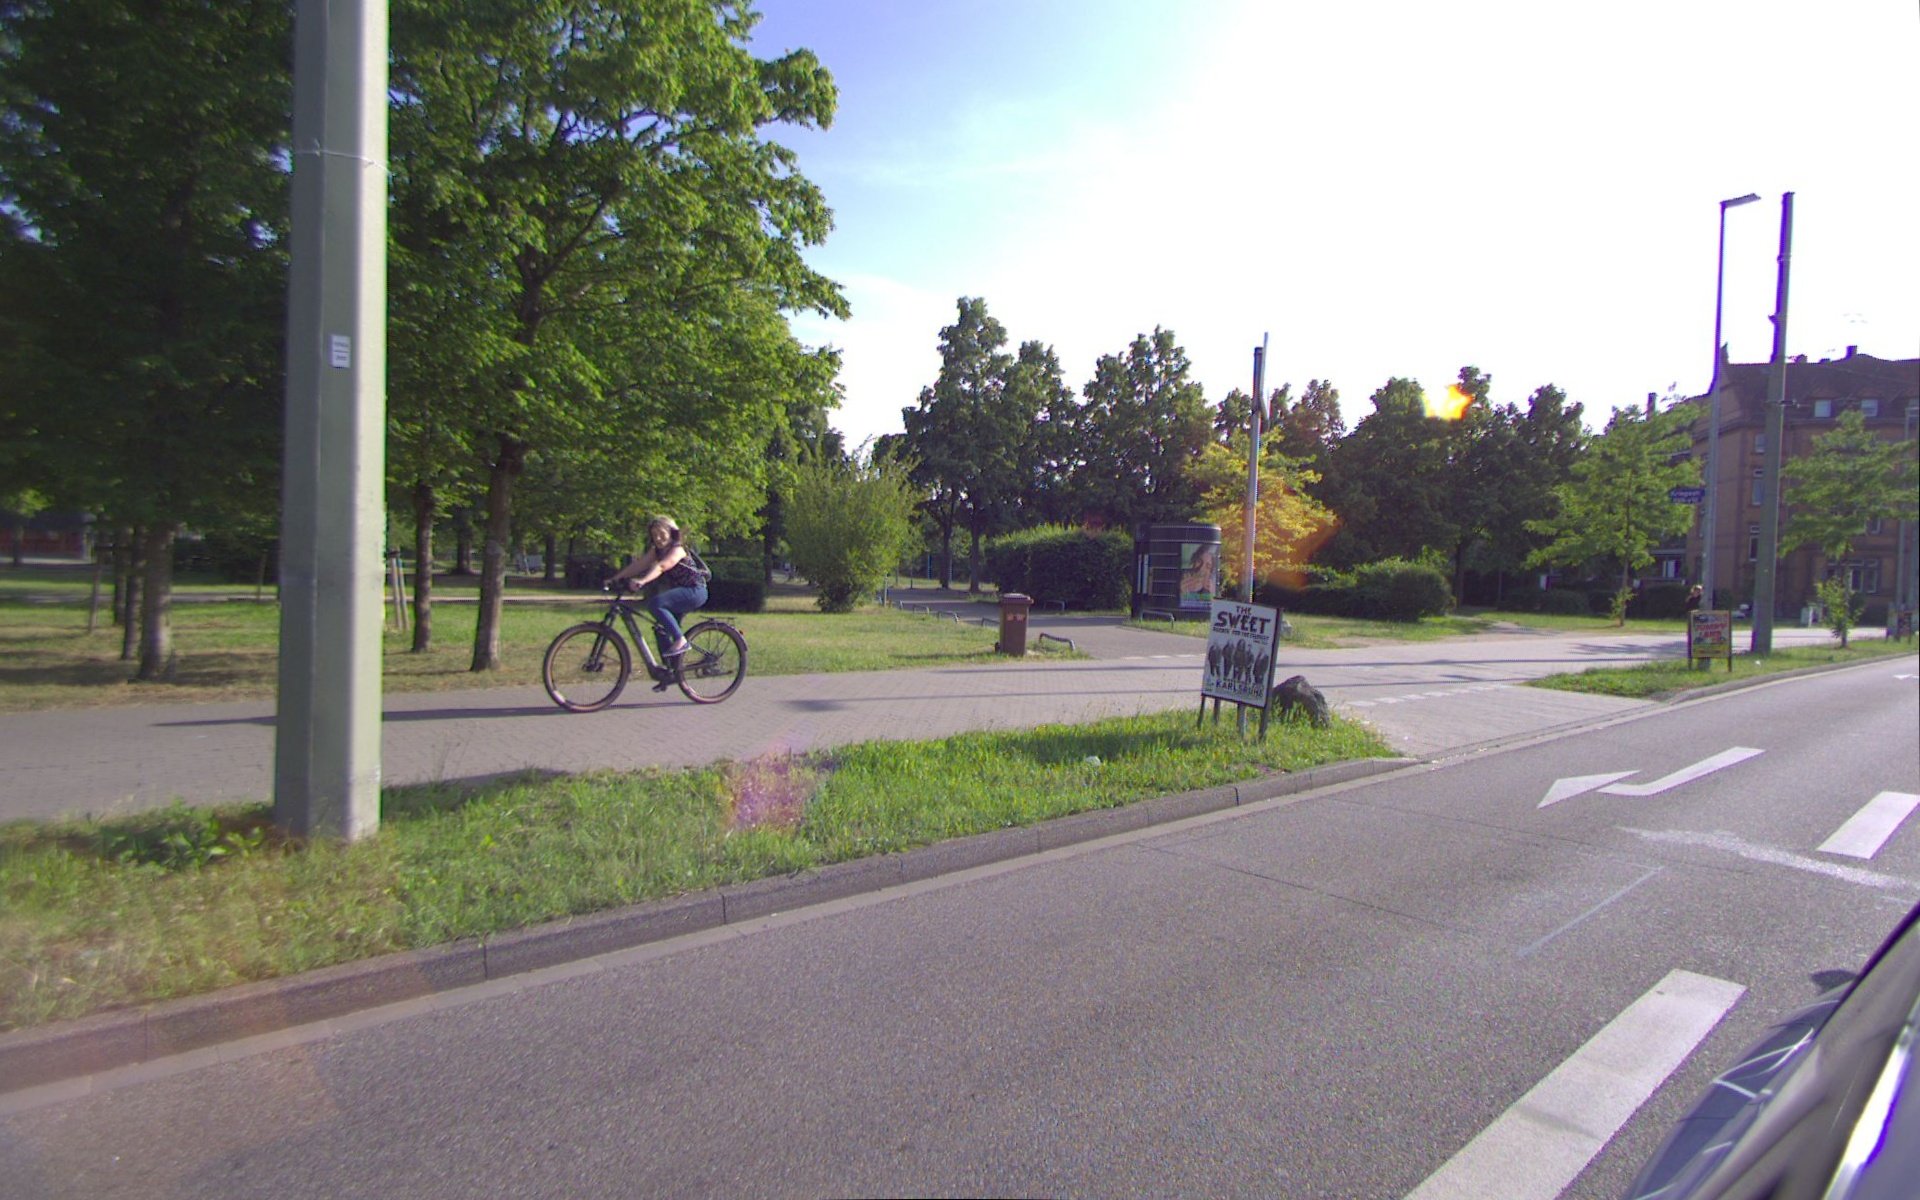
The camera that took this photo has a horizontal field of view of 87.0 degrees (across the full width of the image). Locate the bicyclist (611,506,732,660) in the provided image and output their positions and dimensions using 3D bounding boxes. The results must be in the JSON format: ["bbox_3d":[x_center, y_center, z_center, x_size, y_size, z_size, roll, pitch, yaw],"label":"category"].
[{"bbox_3d":[-2.524,-0.151,8.861,0.853,1.278,0.535,0,2,-41],"label":"bicyclist"}]

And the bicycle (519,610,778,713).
[{"bbox_3d":[-2.656,0.488,8.829,2.130,0.766,0.496,0,3,-41],"label":"bicycle"}]

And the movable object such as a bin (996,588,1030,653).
[{"bbox_3d":[0.789,0.297,15.199,0.447,0.929,0.605,2,2,1],"label":"movable object such as a bin"}]

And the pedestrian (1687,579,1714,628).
[{"bbox_3d":[25.710,0.118,35.140,0.607,1.706,0.621,1,0,-40],"label":"pedestrian"}]
